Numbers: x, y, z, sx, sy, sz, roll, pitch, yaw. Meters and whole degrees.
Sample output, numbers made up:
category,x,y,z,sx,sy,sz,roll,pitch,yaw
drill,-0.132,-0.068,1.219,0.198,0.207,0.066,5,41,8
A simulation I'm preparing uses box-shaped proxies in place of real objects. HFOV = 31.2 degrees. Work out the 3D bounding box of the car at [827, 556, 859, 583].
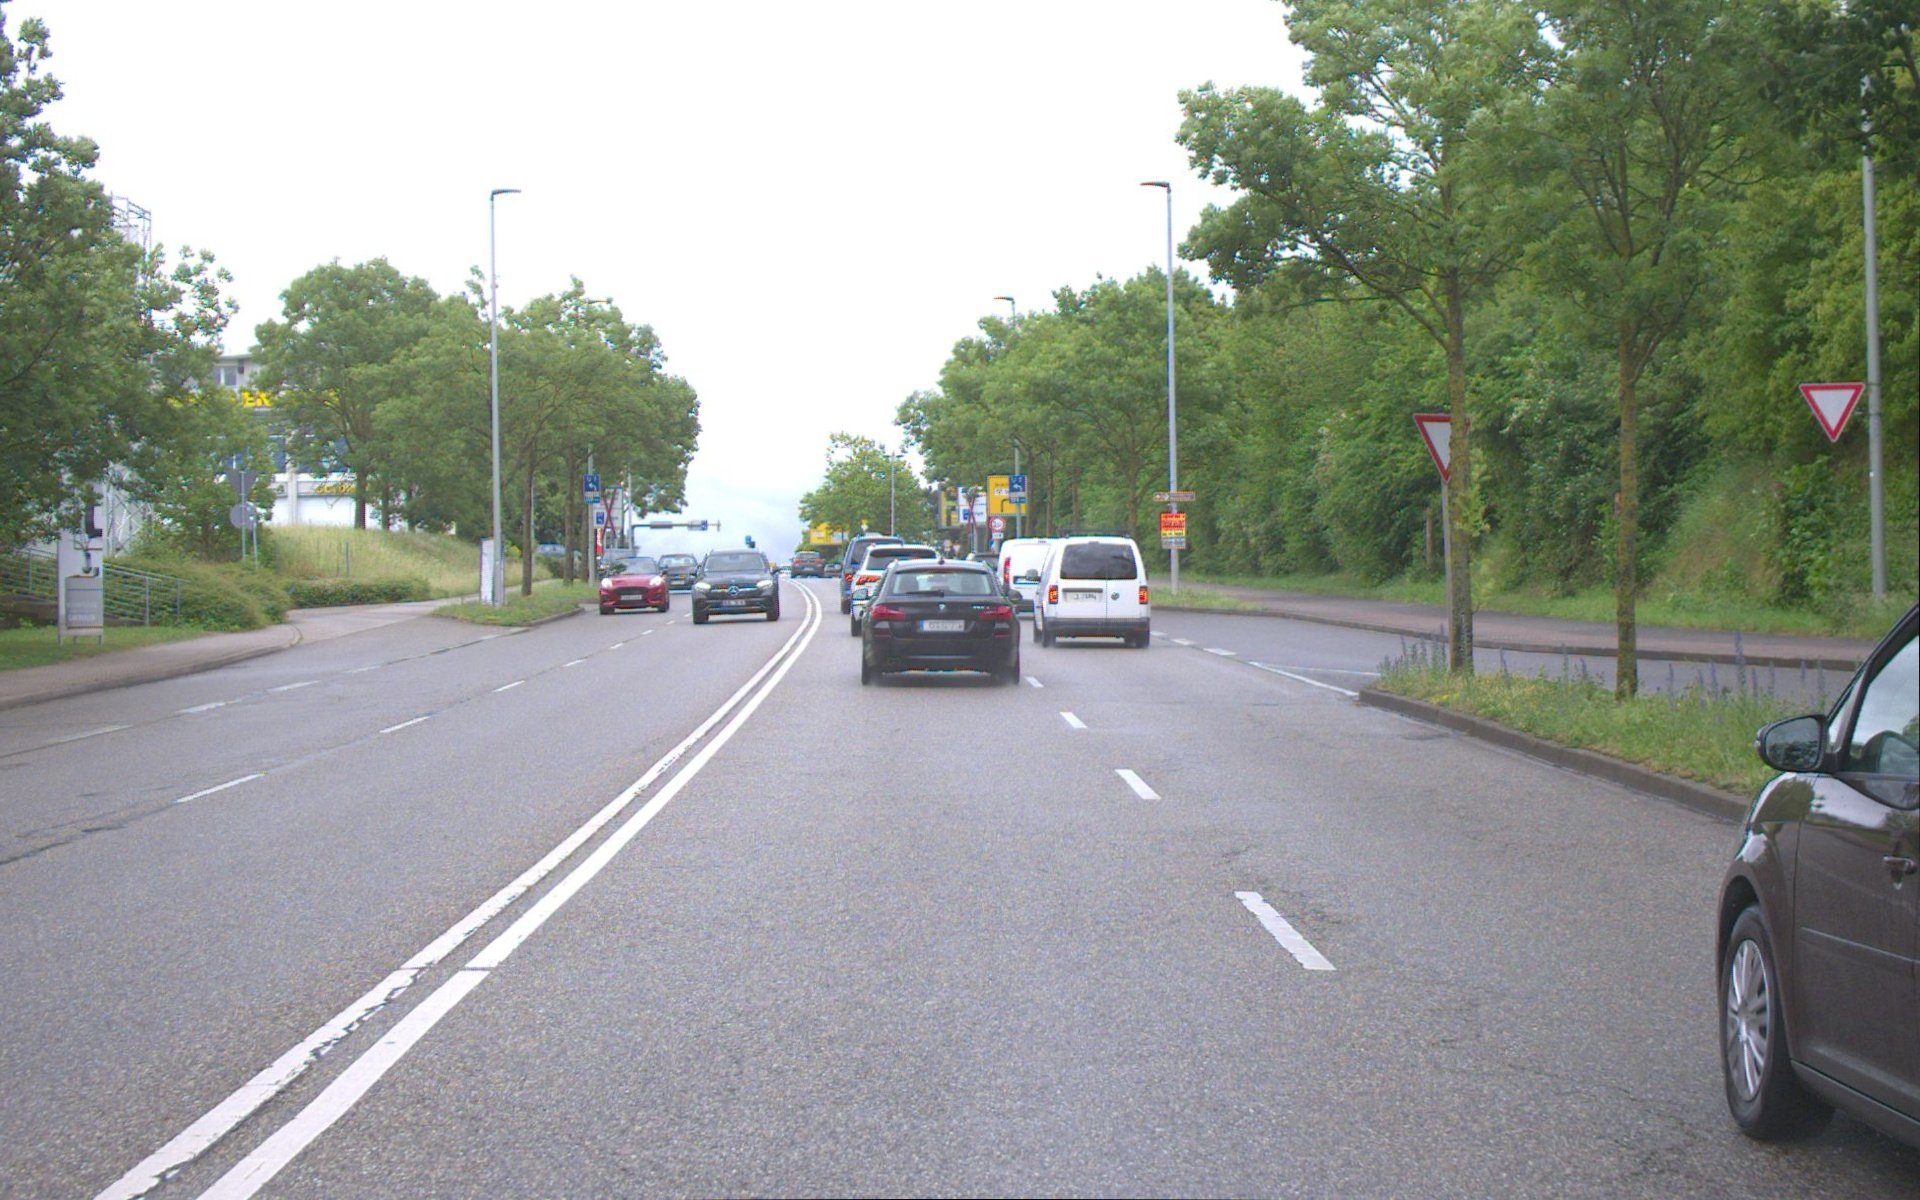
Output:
category,x,y,z,sx,sy,sz,roll,pitch,yaw
car,-6.716,-1.731,197.117,1.794,1.505,4.000,1,0,-2

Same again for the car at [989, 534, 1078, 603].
category,x,y,z,sx,sy,sz,roll,pitch,yaw
car,1.649,-0.693,78.531,1.794,1.505,4.000,1,0,-2

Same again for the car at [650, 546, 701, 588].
category,x,y,z,sx,sy,sz,roll,pitch,yaw
car,-10.500,-1.209,127.264,1.794,1.505,4.000,1,0,-4

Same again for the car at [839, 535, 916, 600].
category,x,y,z,sx,sy,sz,roll,pitch,yaw
car,-1.987,-0.780,83.392,1.794,1.505,4.000,1,0,-1

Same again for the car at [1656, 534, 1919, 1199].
category,x,y,z,sx,sy,sz,roll,pitch,yaw
car,2.855,0.653,7.439,1.685,1.575,4.219,0,1,-2

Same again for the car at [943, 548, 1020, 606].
category,x,y,z,sx,sy,sz,roll,pitch,yaw
car,0.567,-0.617,93.329,1.794,1.505,4.000,1,0,-4

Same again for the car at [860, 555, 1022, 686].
category,x,y,z,sx,sy,sz,roll,pitch,yaw
car,-0.214,0.206,40.982,1.827,1.463,4.000,0,1,0

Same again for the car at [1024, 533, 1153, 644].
category,x,y,z,sx,sy,sz,roll,pitch,yaw
car,2.094,-0.216,56.939,1.827,1.753,4.000,1,1,-2

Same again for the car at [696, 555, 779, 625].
category,x,y,z,sx,sy,sz,roll,pitch,yaw
car,-5.002,-0.230,77.251,1.794,1.505,4.000,1,0,-4

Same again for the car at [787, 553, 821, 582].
category,x,y,z,sx,sy,sz,roll,pitch,yaw
car,-8.480,-1.758,186.645,1.794,1.505,4.000,1,0,-2

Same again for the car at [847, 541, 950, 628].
category,x,y,z,sx,sy,sz,roll,pitch,yaw
car,-1.153,-0.274,62.995,1.794,1.505,4.000,1,0,-2

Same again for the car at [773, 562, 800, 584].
category,x,y,z,sx,sy,sz,roll,pitch,yaw
car,-12.036,-1.853,238.767,1.794,1.505,4.000,1,0,-2

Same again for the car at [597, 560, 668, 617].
category,x,y,z,sx,sy,sz,roll,pitch,yaw
car,-8.927,-0.312,93.898,1.794,1.505,4.000,1,0,-4

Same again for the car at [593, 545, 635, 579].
category,x,y,z,sx,sy,sz,roll,pitch,yaw
car,-16.014,-1.762,159.337,1.794,1.505,4.000,1,0,-4
